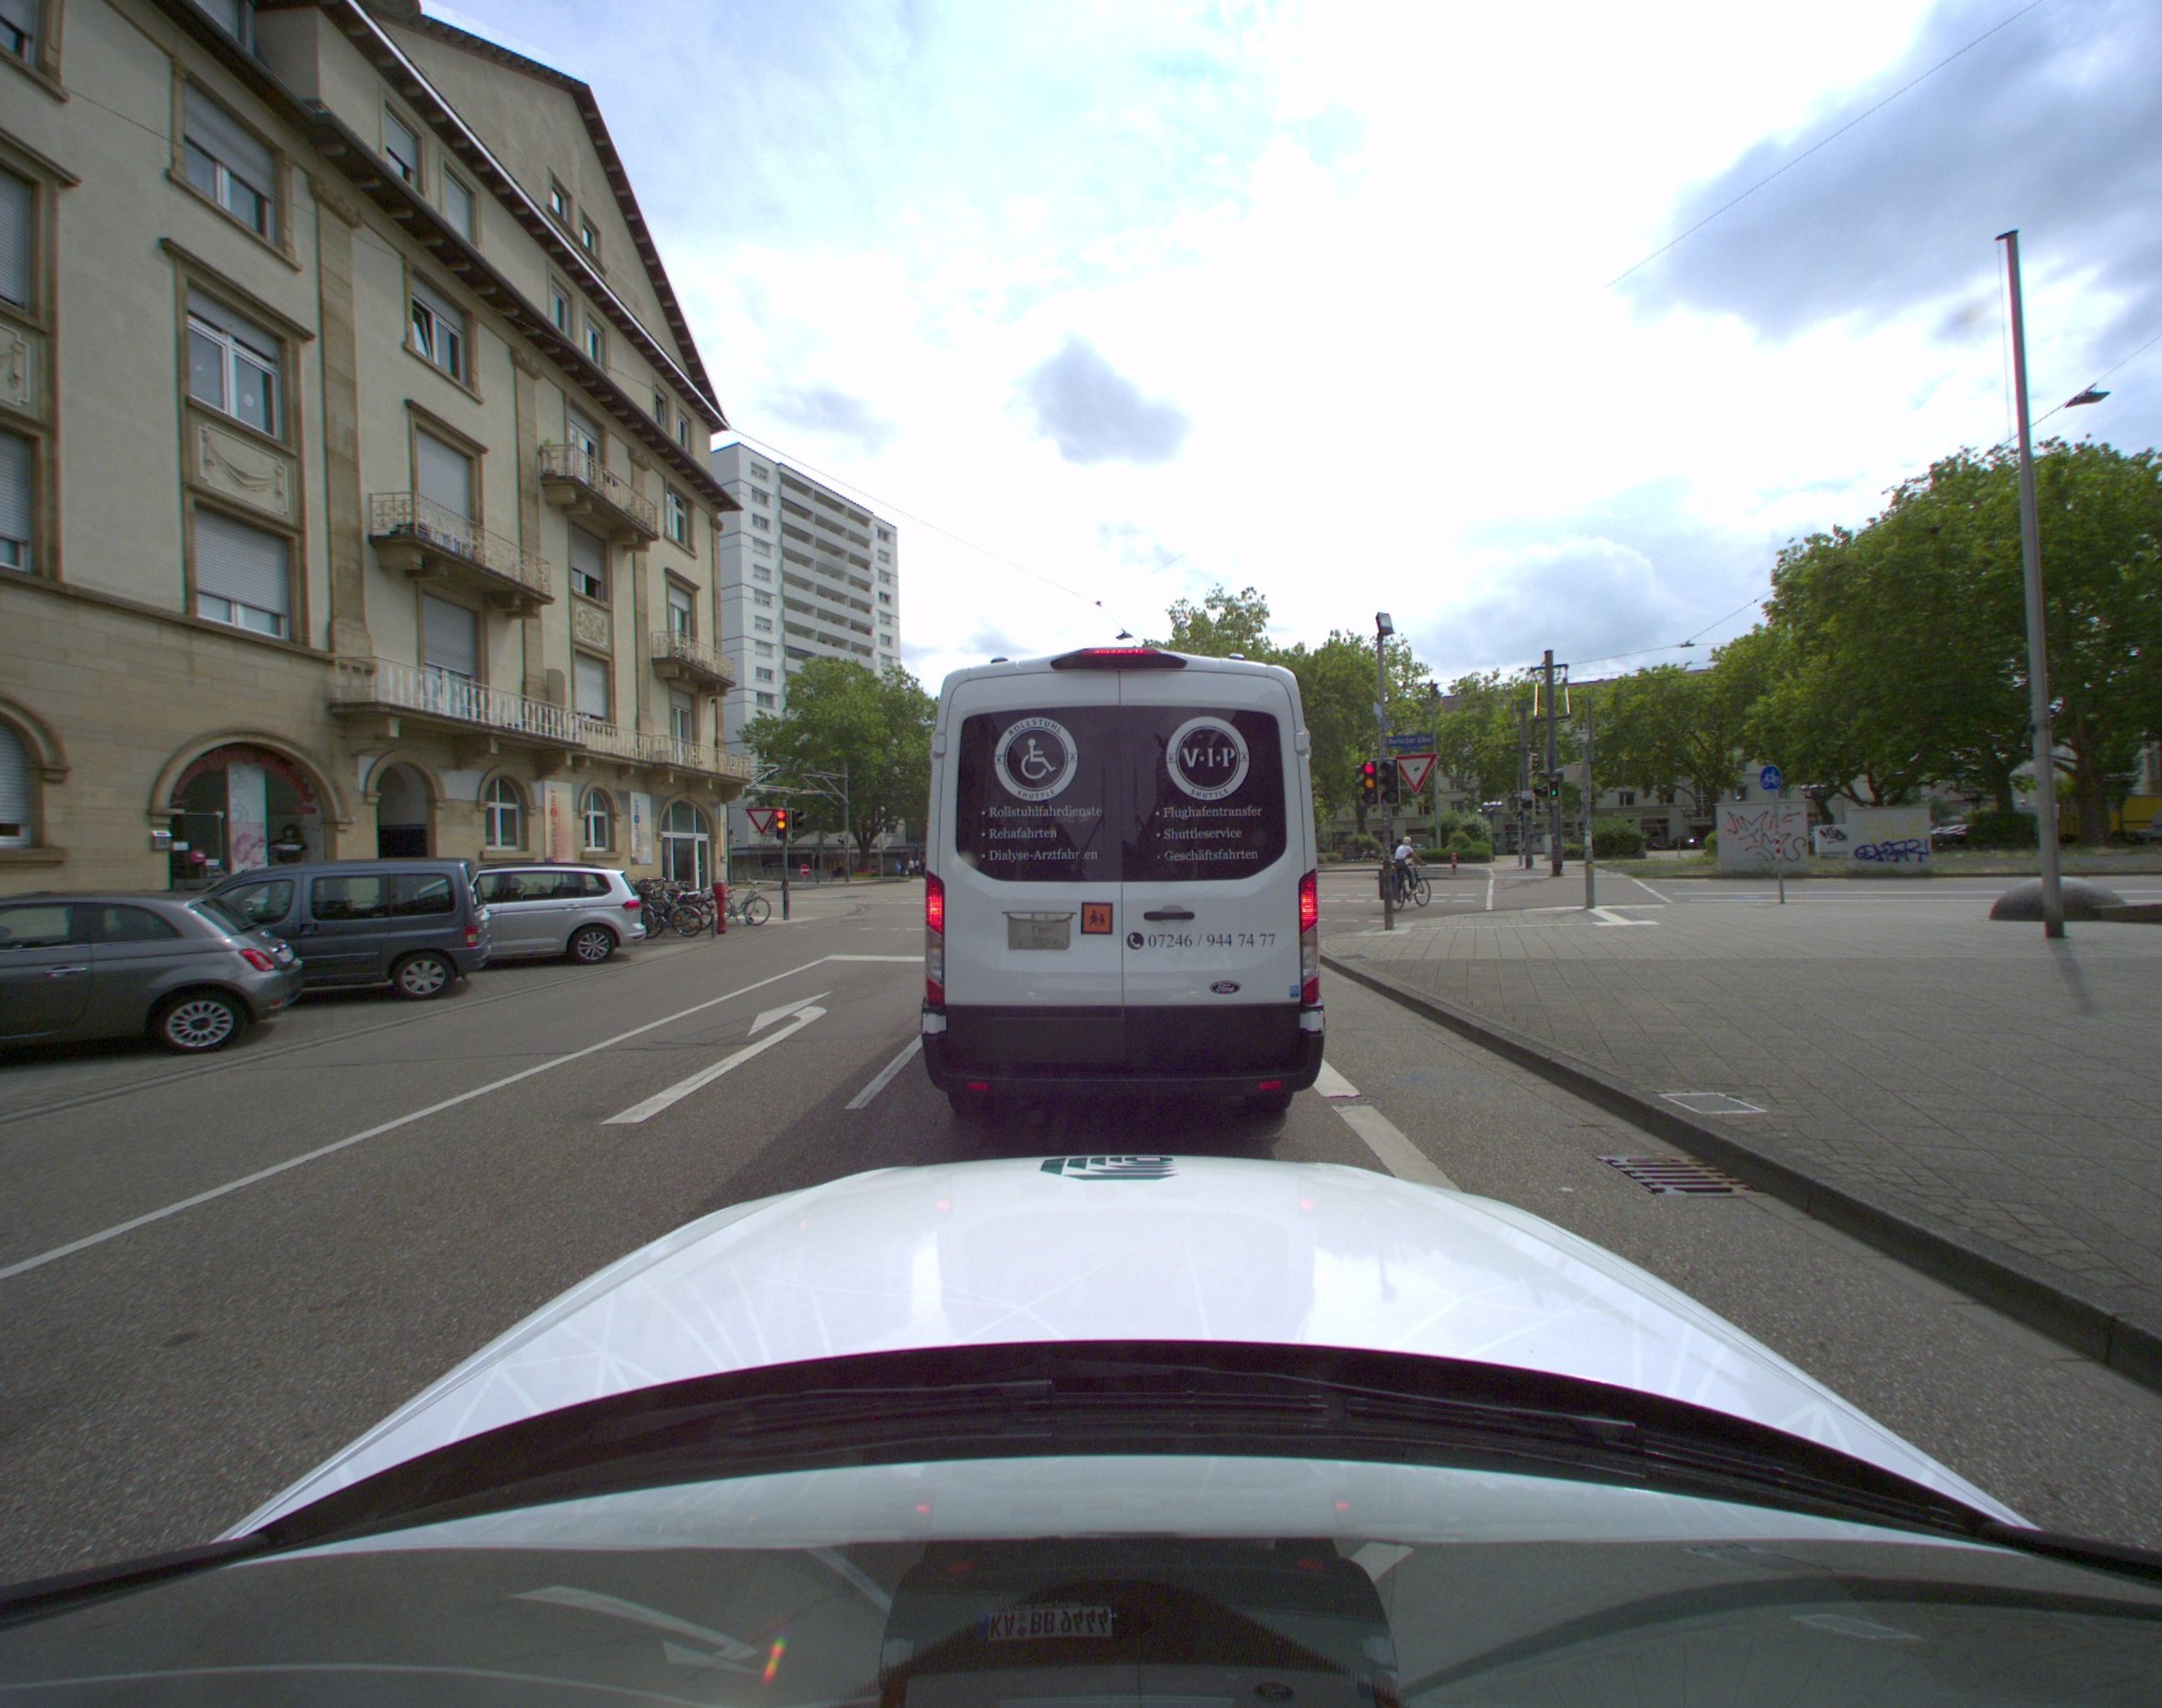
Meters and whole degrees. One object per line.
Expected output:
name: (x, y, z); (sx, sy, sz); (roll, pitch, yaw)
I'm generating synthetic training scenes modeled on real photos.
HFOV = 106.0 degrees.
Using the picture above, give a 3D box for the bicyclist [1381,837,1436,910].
bicyclist: (7.879, 0.456, 19.613); (0.760, 1.683, 0.897); (-2, 0, -33)

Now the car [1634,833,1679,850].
car: (55.442, -1.195, 78.544); (1.757, 1.503, 4.008); (-2, 0, 7)

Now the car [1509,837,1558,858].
car: (43.357, -0.641, 78.052); (3.950, 1.883, 1.868); (-2, 0, 26)

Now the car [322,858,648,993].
car: (-9.522, 1.017, 13.335); (4.031, 1.773, 1.776); (-2, 0, -37)

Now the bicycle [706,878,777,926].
bicycle: (-8.642, 1.206, 20.710); (1.859, 1.167, 0.500); (0, -1, 22)

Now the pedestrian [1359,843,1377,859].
pedestrian: (24.700, -0.253, 70.010); (1.086, 1.236, 1.443); (-4, -1, 6)

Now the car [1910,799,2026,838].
car: (66.667, -2.631, 61.364); (5.271, 2.585, 2.512); (-2, -1, 24)

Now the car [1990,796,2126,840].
car: (64.868, -2.317, 54.217); (5.271, 2.585, 2.192); (-2, -1, 24)

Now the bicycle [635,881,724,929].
bicycle: (-9.643, 1.219, 19.617); (1.807, 1.120, 0.593); (0, 0, -6)

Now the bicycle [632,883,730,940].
bicycle: (-8.606, 1.226, 17.547); (1.800, 1.120, 0.595); (2, 0, 5)

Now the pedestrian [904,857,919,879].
pedestrian: (-12.592, 1.028, 60.466); (0.799, 1.572, 0.728); (-2, 0, 30)

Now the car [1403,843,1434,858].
car: (36.262, -0.398, 87.522); (1.983, 1.503, 4.008); (-2, 0, 7)

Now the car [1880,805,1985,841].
car: (68.913, -2.487, 66.017); (5.271, 2.585, 2.512); (-2, -1, 24)

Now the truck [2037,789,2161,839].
truck: (58.613, -2.200, 46.277); (3.042, 2.577, 6.549); (-2, 0, 25)

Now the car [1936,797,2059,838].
car: (65.724, -2.568, 58.547); (5.271, 2.585, 2.512); (-2, -1, 24)

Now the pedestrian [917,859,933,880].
pedestrian: (-11.790, 1.170, 61.481); (0.921, 1.514, 0.728); (-2, 0, 42)

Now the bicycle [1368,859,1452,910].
bicycle: (7.953, 0.712, 19.663); (1.978, 1.075, 0.896); (-4, 1, -34)

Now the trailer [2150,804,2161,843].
trailer: (55.428, -1.589, 39.215); (4.381, 1.925, 1.865); (-2, 0, 26)

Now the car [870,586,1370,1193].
car: (0.205, 0.121, 5.902); (2.174, 2.647, 4.629); (-1, 1, 0)

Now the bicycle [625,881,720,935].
bicycle: (-9.152, 1.206, 18.295); (1.807, 1.166, 0.593); (0, 0, -6)

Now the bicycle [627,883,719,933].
bicycle: (-9.458, 1.243, 18.914); (1.807, 1.120, 0.593); (0, 0, -6)

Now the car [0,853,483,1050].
car: (-9.912, 0.992, 10.043); (4.031, 1.878, 1.776); (-2, 0, -37)

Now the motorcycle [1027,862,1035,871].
motorcycle: (-5.709, 1.453, 93.015); (0.680, 0.971, 2.325); (-2, 0, 2)

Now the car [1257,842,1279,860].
car: (21.695, -0.381, 94.598); (1.983, 1.930, 4.008); (-2, 0, 7)

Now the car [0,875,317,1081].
car: (-9.861, 1.107, 7.408); (4.031, 1.651, 1.776); (-2, 0, -37)

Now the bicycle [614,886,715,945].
bicycle: (-8.617, 1.264, 16.872); (1.799, 1.120, 0.595); (-2, 0, 8)

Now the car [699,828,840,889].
car: (-22.083, 0.363, 57.554); (9.793, 3.915, 3.476); (-2, 0, 26)
